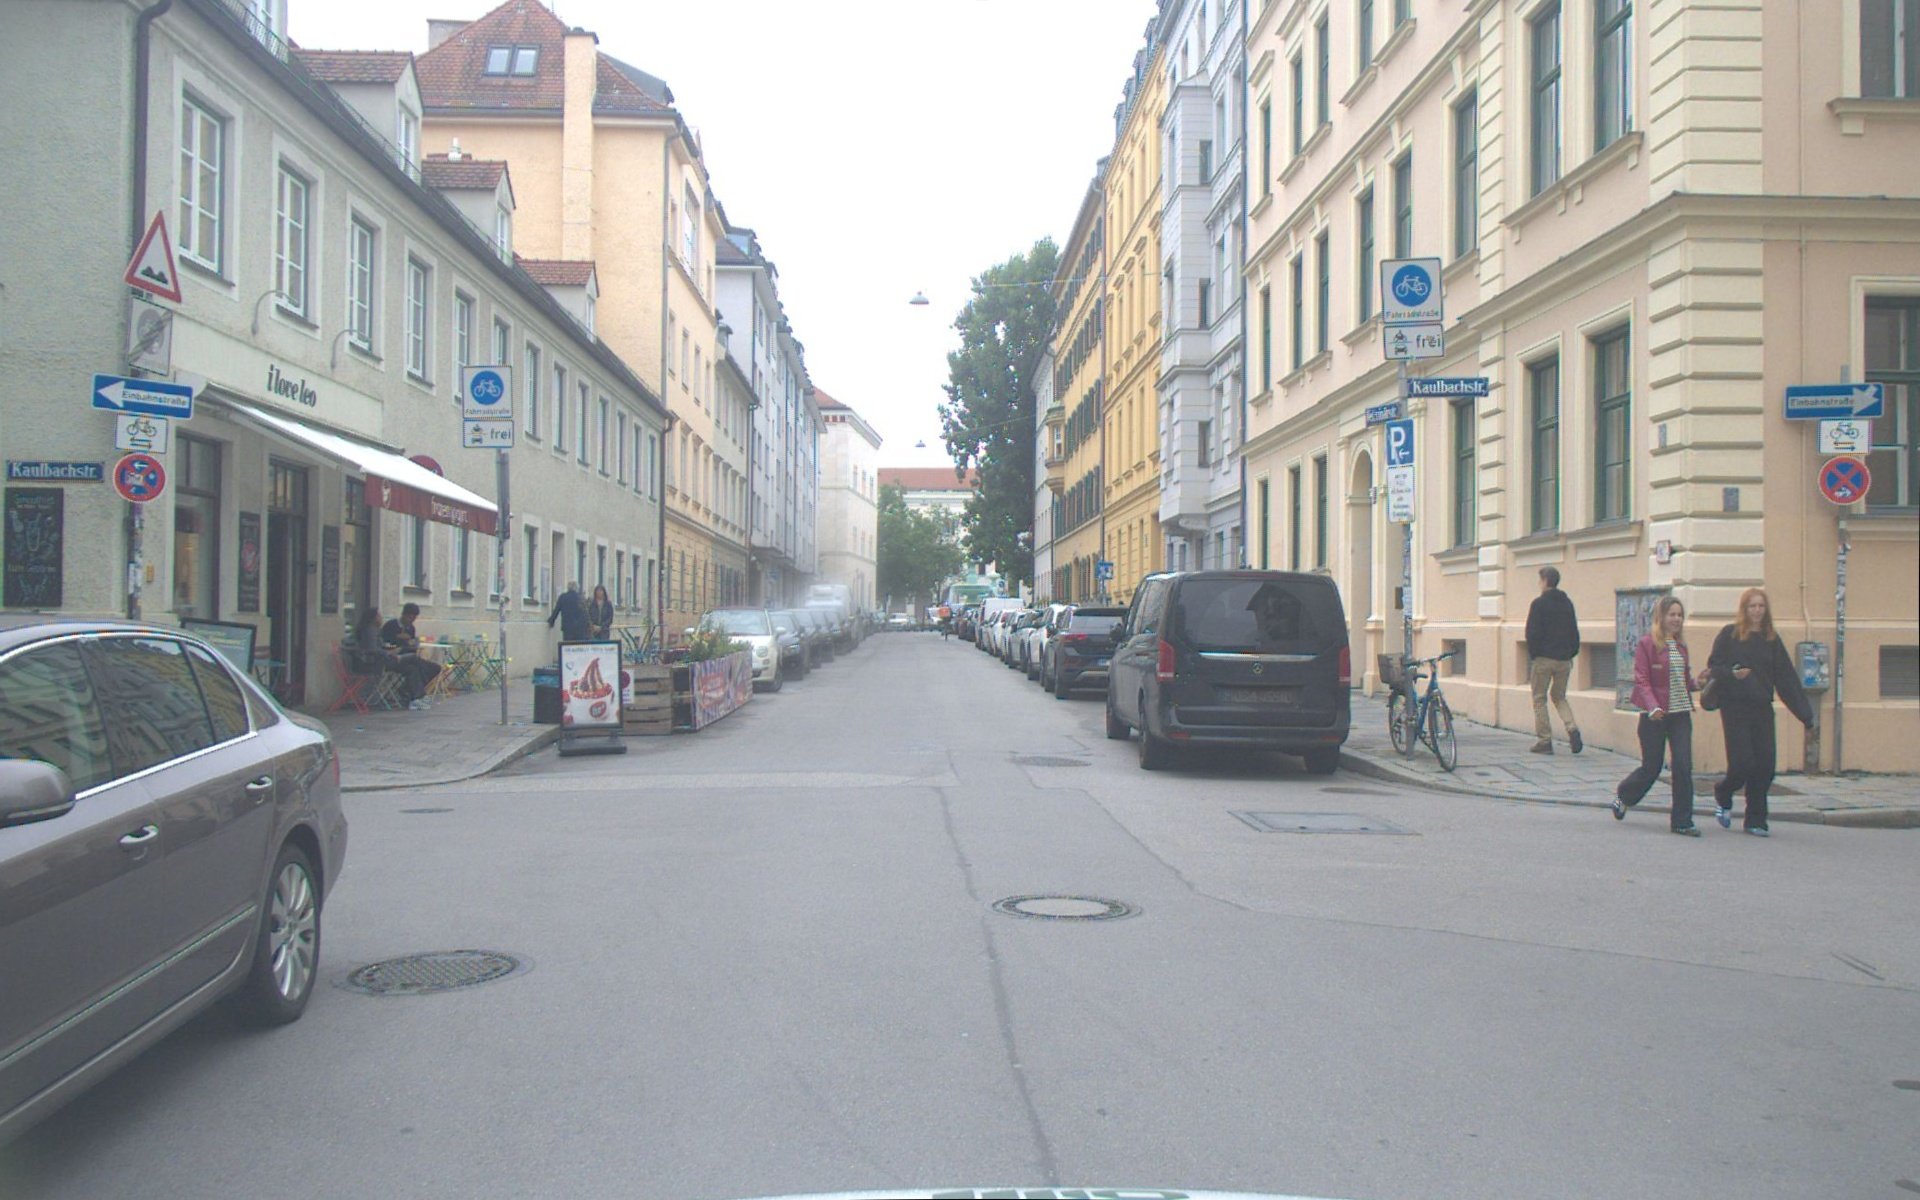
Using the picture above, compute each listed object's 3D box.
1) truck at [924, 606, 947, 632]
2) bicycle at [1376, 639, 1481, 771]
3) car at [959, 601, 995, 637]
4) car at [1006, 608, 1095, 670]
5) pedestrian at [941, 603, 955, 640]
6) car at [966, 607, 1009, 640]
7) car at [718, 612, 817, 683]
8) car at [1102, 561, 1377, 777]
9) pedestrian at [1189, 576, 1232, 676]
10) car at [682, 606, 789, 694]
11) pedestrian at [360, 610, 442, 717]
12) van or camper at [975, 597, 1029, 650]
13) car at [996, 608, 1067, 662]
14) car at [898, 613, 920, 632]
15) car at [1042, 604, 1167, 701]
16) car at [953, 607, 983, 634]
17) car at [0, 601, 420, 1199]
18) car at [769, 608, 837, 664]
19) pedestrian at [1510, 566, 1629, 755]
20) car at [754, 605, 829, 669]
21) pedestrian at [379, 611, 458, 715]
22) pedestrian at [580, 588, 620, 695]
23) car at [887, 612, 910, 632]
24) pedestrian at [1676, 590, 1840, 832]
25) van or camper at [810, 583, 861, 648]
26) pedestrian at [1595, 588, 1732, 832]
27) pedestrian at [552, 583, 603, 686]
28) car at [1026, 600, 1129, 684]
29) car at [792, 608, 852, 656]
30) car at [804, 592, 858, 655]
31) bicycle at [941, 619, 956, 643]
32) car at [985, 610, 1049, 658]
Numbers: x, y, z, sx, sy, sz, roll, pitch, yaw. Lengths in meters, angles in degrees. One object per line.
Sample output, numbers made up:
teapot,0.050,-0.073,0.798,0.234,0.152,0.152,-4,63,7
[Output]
truck,-2.246,1.720,151.517,2.078,2.287,6.183,0,-1,-1
bicycle,4.409,0.959,15.663,0.456,1.070,1.729,-2,2,-1
car,0.900,1.028,89.187,1.775,1.829,4.245,1,-1,-1
car,2.163,0.923,40.366,1.674,1.429,4.204,0,-1,-4
pedestrian,-0.563,1.037,78.610,0.629,1.744,0.842,0,-2,-1
car,1.237,1.094,76.910,1.775,1.490,4.245,1,-1,-2
car,-4.074,0.969,35.593,1.762,1.363,4.683,0,0,-3
car,2.709,0.622,17.310,1.957,1.897,5.252,1,0,0
pedestrian,5.181,0.549,34.275,0.656,2.015,0.708,-3,-2,-1
car,-4.056,0.876,30.332,1.720,1.501,3.710,1,0,-5
pedestrian,-6.971,0.791,20.662,0.787,1.312,0.693,0,-2,-2
van or camper,1.543,0.879,62.447,1.796,1.904,5.077,0,-1,-1
car,1.955,0.951,46.430,1.673,1.433,4.813,0,-1,-1
car,-4.433,1.969,144.341,1.671,1.609,3.863,-1,-1,1
car,2.432,0.867,28.737,1.719,1.548,4.273,0,-1,-1
car,0.506,1.270,103.087,1.775,1.642,4.154,0,-1,-1
car,-2.984,0.770,4.591,1.646,1.497,4.946,-1,0,-4
car,-4.407,0.982,46.556,1.781,1.467,4.127,-1,0,-5
pedestrian,5.809,0.570,15.812,0.704,1.747,1.003,0,-2,-3
car,-4.182,0.906,41.552,1.720,1.522,4.196,0,-1,-4
pedestrian,-6.990,0.807,21.386,0.787,1.313,0.693,0,-2,-2
pedestrian,-6.243,0.717,28.682,0.518,1.813,0.877,0,-2,-1
car,-5.104,1.797,138.187,1.671,1.609,3.863,-1,-1,1
pedestrian,5.692,0.773,11.852,0.645,1.649,0.979,0,-2,-3
van or camper,-4.617,0.576,61.794,1.719,2.321,5.270,0,-1,-2
pedestrian,4.994,0.762,11.798,0.462,1.653,1.069,0,-2,-2
pedestrian,-7.240,0.658,31.334,0.806,1.931,0.827,0,-2,-3
car,2.358,0.840,34.148,1.708,1.611,4.465,0,-1,-1
car,-4.252,0.978,51.574,1.719,1.433,4.100,0,-1,-3
car,-4.445,0.798,56.516,1.720,2.030,4.620,0,-1,-6
bicycle,-0.551,1.490,78.620,0.662,1.114,1.759,0,-2,-1
car,1.778,1.068,52.685,1.674,1.480,4.093,0,-1,-4
